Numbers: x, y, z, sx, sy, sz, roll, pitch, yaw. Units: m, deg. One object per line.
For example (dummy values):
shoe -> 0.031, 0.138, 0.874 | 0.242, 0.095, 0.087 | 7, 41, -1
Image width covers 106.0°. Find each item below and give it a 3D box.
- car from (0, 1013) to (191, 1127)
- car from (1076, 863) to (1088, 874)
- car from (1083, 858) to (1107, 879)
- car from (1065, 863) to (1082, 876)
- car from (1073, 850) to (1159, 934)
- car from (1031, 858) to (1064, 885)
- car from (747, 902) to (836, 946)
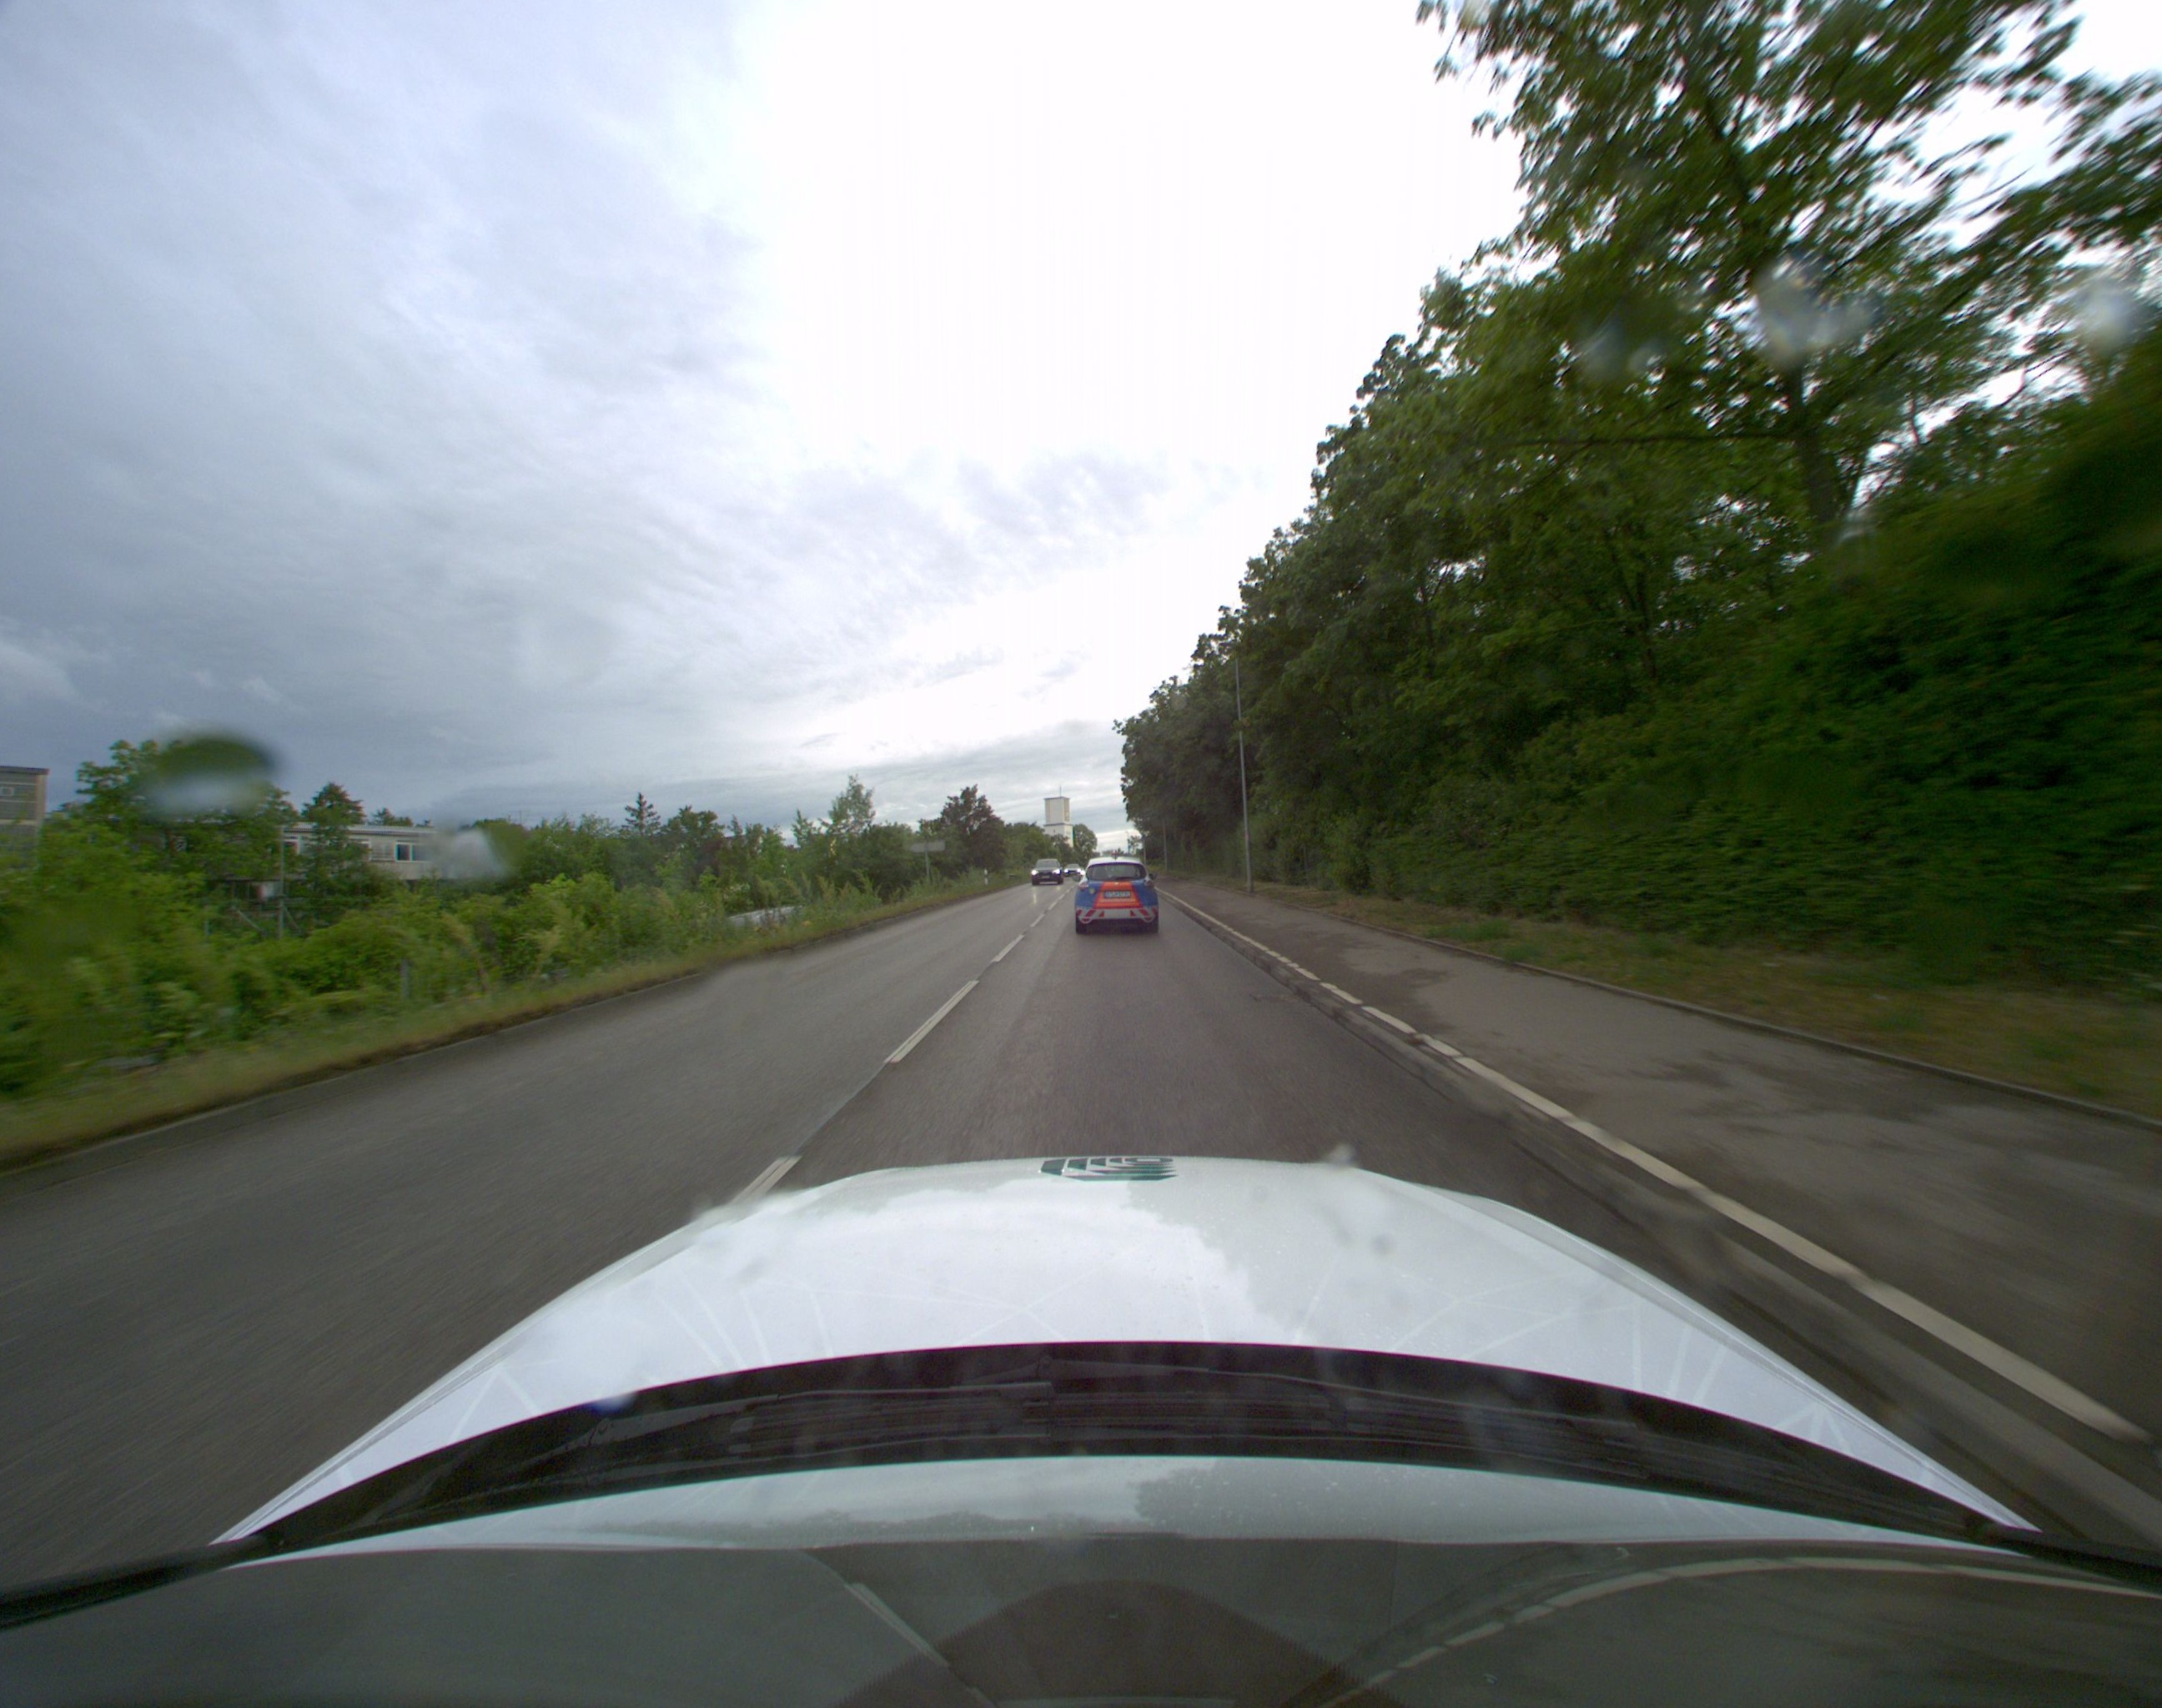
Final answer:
car -> -22.687, 4.791, 17.332 | 1.843, 1.692, 4.672 | -8, 0, 32
car -> 0.211, 2.148, 121.366 | 1.724, 1.585, 4.081 | -2, -1, 1
car -> 1.144, 1.195, 66.178 | 1.796, 1.590, 3.562 | -4, -1, 0
car -> -0.863, 1.803, 95.415 | 1.855, 1.503, 4.729 | -2, -1, 1
car -> 0.736, 0.793, 17.836 | 1.651, 1.593, 3.569 | -2, -2, 1
car -> -2.145, 1.086, 53.201 | 1.862, 1.585, 4.415 | -2, 0, 1
car -> -12.880, 3.091, 36.503 | 1.640, 1.523, 4.083 | -4, -1, 15
